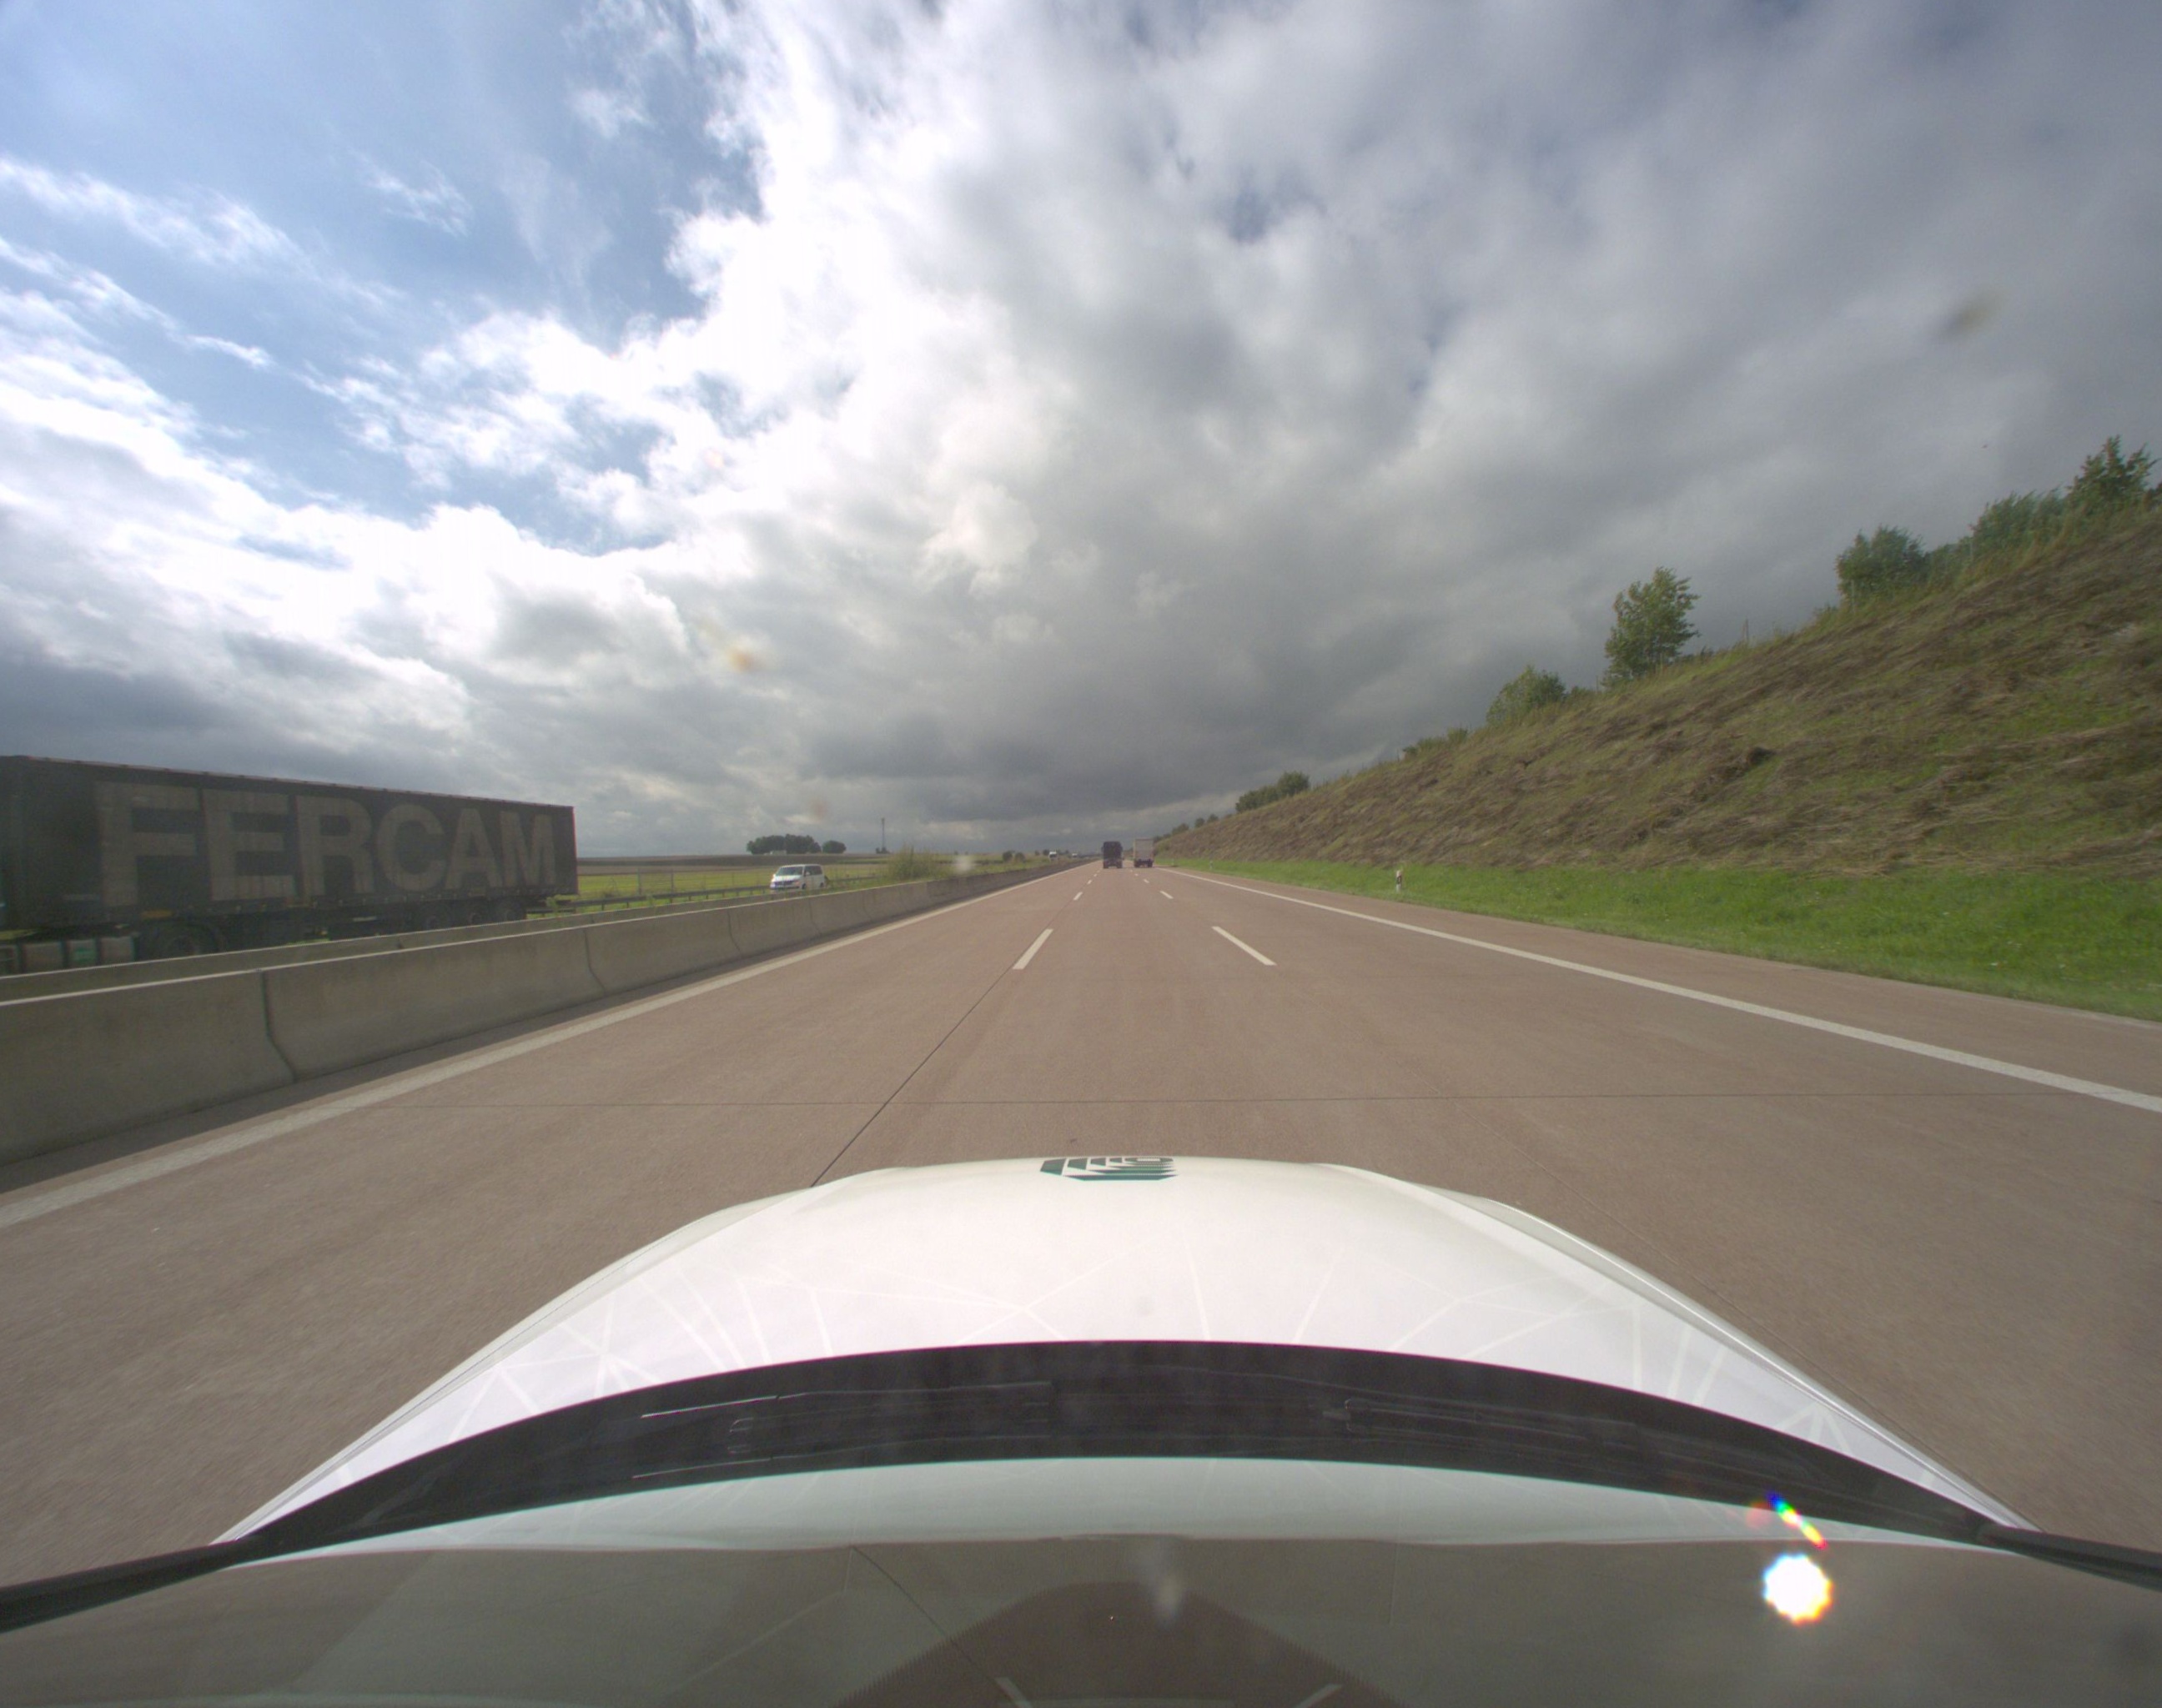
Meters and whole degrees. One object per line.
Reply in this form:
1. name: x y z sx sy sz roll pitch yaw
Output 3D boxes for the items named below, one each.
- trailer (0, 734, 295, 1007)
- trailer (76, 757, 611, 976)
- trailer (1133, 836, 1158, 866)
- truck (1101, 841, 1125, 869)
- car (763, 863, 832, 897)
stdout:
1. trailer: -18.263 0.258 13.748 2.995 4.248 7.013 0 0 2
2. trailer: -17.912 0.232 21.962 3.009 4.264 12.102 0 0 2
3. trailer: 8.983 -0.332 114.525 2.738 4.012 8.669 -1 -1 0
4. truck: 4.247 0.125 109.214 2.838 3.550 8.319 -1 -1 0
5. car: -17.337 1.551 50.138 2.051 1.846 5.731 -2 0 2
